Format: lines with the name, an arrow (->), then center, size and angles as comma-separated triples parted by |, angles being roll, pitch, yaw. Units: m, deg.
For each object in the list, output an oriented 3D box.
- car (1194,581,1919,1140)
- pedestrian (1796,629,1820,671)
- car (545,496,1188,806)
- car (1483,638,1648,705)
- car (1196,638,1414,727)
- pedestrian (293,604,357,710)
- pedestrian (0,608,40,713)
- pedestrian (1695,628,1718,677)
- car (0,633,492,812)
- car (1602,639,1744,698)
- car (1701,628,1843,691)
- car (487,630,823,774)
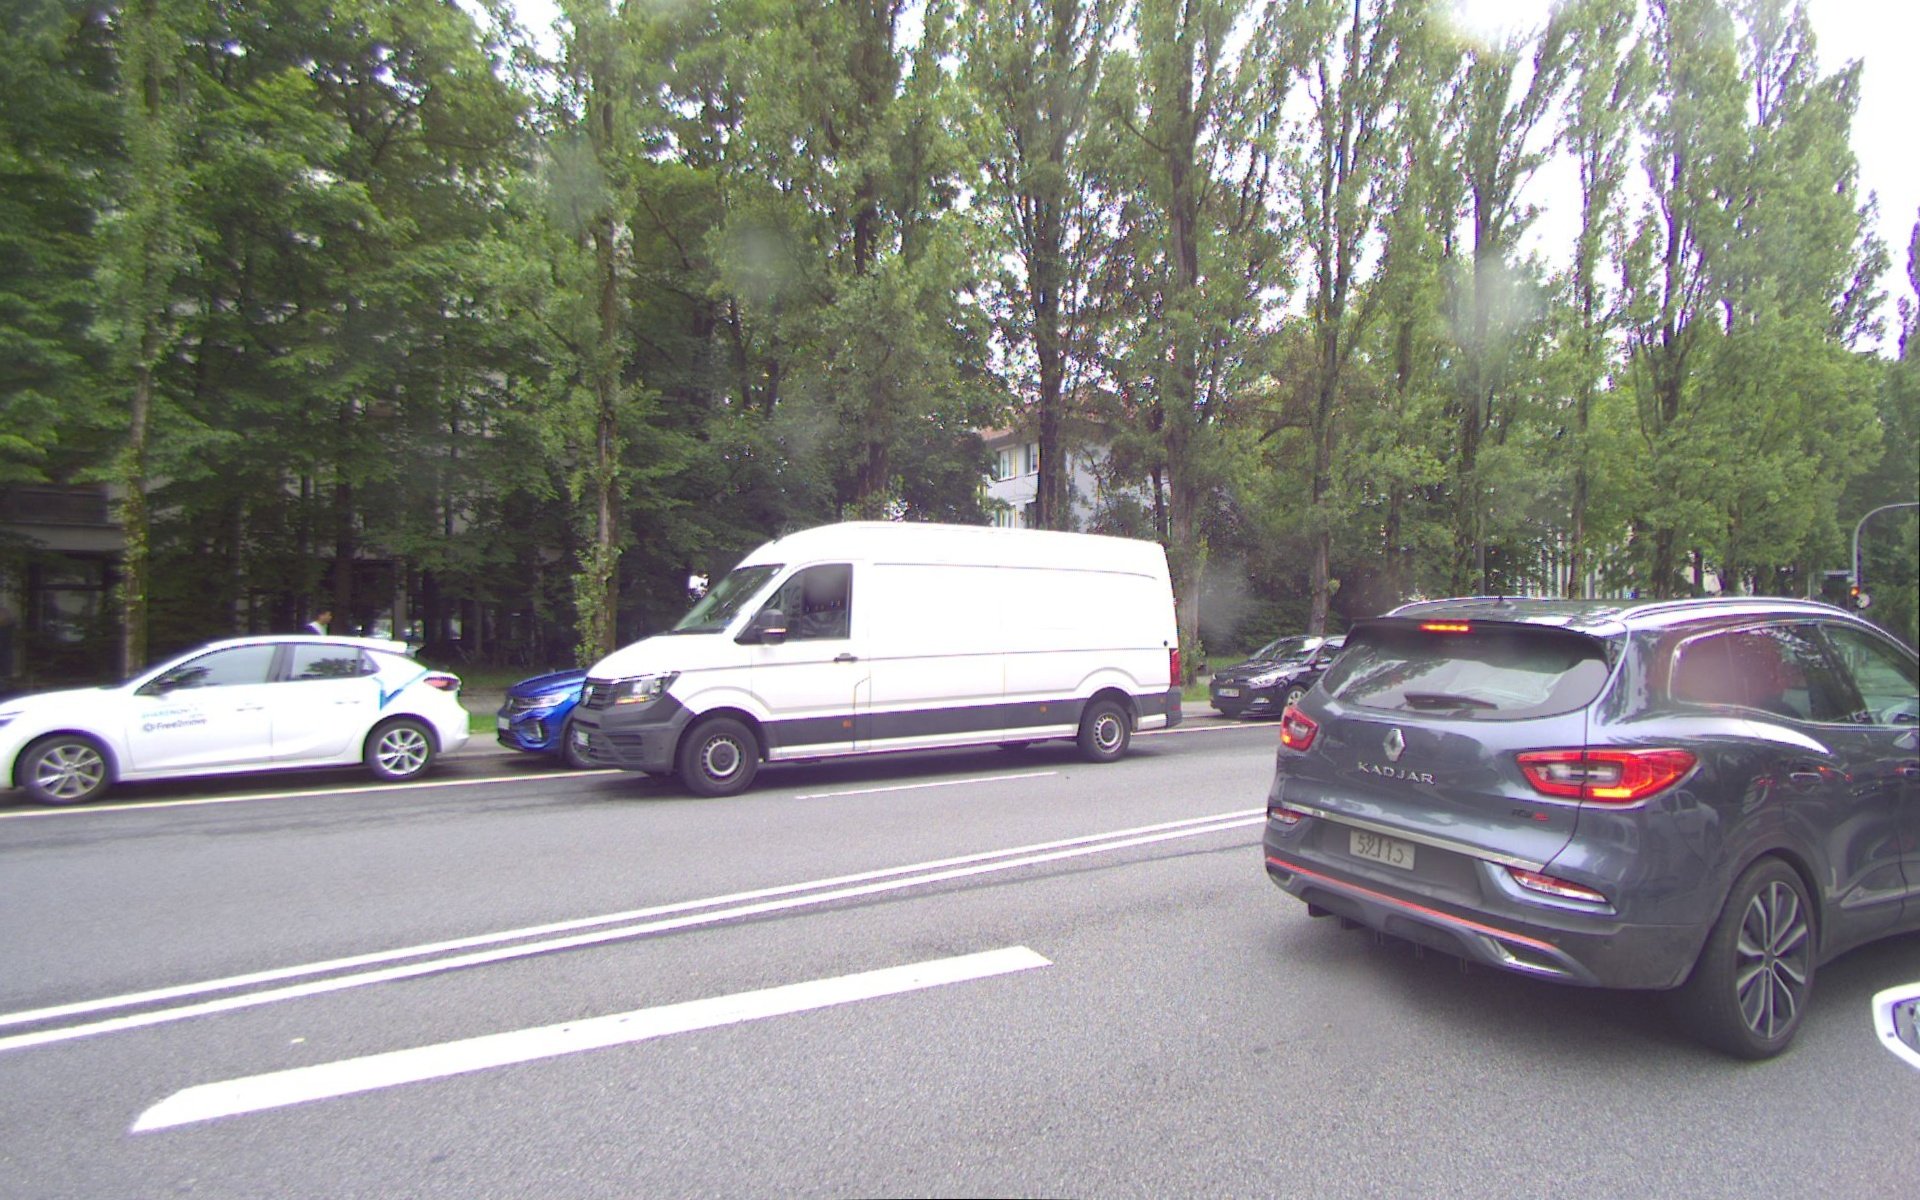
car -> 3.297, 0.789, 4.692 | 4.133, 1.607, 1.828 | 1, -1, -29
pedestrian -> 30.862, 1.822, 36.551 | 0.530, 1.505, 0.515 | 1, -2, -30
car -> -0.749, 0.518, 10.907 | 6.683, 2.515, 2.216 | 1, -3, -32
car -> 13.875, 1.593, 22.950 | 4.123, 1.407, 1.614 | 1, -4, -34
car -> 6.260, 1.444, 18.170 | 3.805, 1.444, 1.594 | 1, -4, -30
pedestrian -> -11.158, 0.987, 17.675 | 0.879, 1.795, 0.733 | 1, 0, -30
pedestrian -> -15.250, 0.942, 15.870 | 0.871, 1.620, 0.733 | 1, 0, -30
pedestrian -> 23.775, 1.659, 31.981 | 0.390, 1.548, 0.463 | 1, -1, -30
car -> -7.022, 1.093, 9.909 | 4.188, 1.471, 1.761 | 1, -4, -33
car -> 18.436, 1.721, 25.929 | 4.123, 1.407, 1.614 | 1, -4, -34
car -> 23.465, 1.687, 28.979 | 4.647, 1.675, 1.838 | 1, -4, -34
car -> -3.608, 1.125, 12.022 | 3.547, 1.470, 1.700 | 1, -3, -33
